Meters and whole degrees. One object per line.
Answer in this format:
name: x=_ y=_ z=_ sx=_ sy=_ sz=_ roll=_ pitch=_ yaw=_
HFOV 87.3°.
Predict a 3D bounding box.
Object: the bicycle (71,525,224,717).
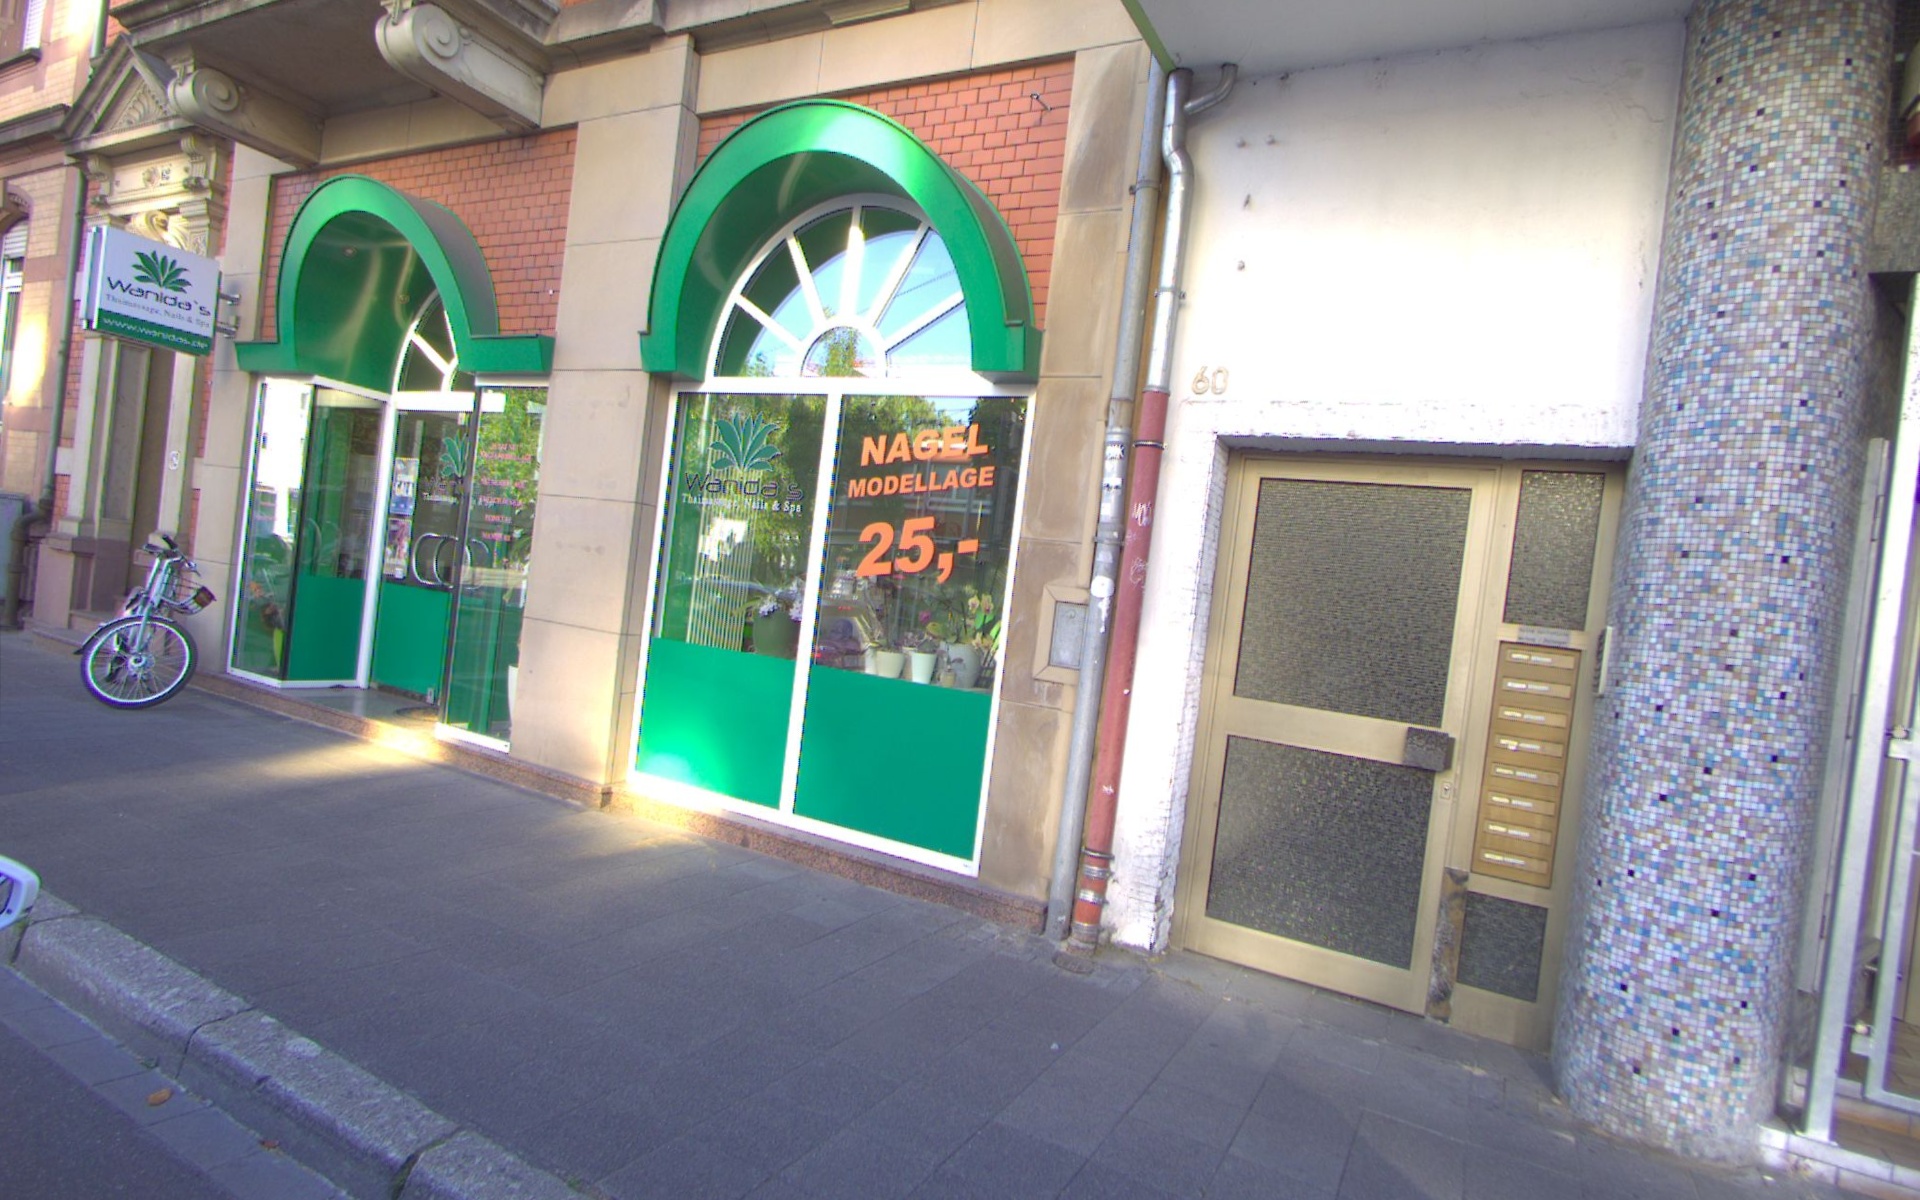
bicycle: x=-5.847 y=0.112 z=7.205 sx=0.712 sy=1.167 sz=1.635 roll=4 pitch=2 yaw=-42
